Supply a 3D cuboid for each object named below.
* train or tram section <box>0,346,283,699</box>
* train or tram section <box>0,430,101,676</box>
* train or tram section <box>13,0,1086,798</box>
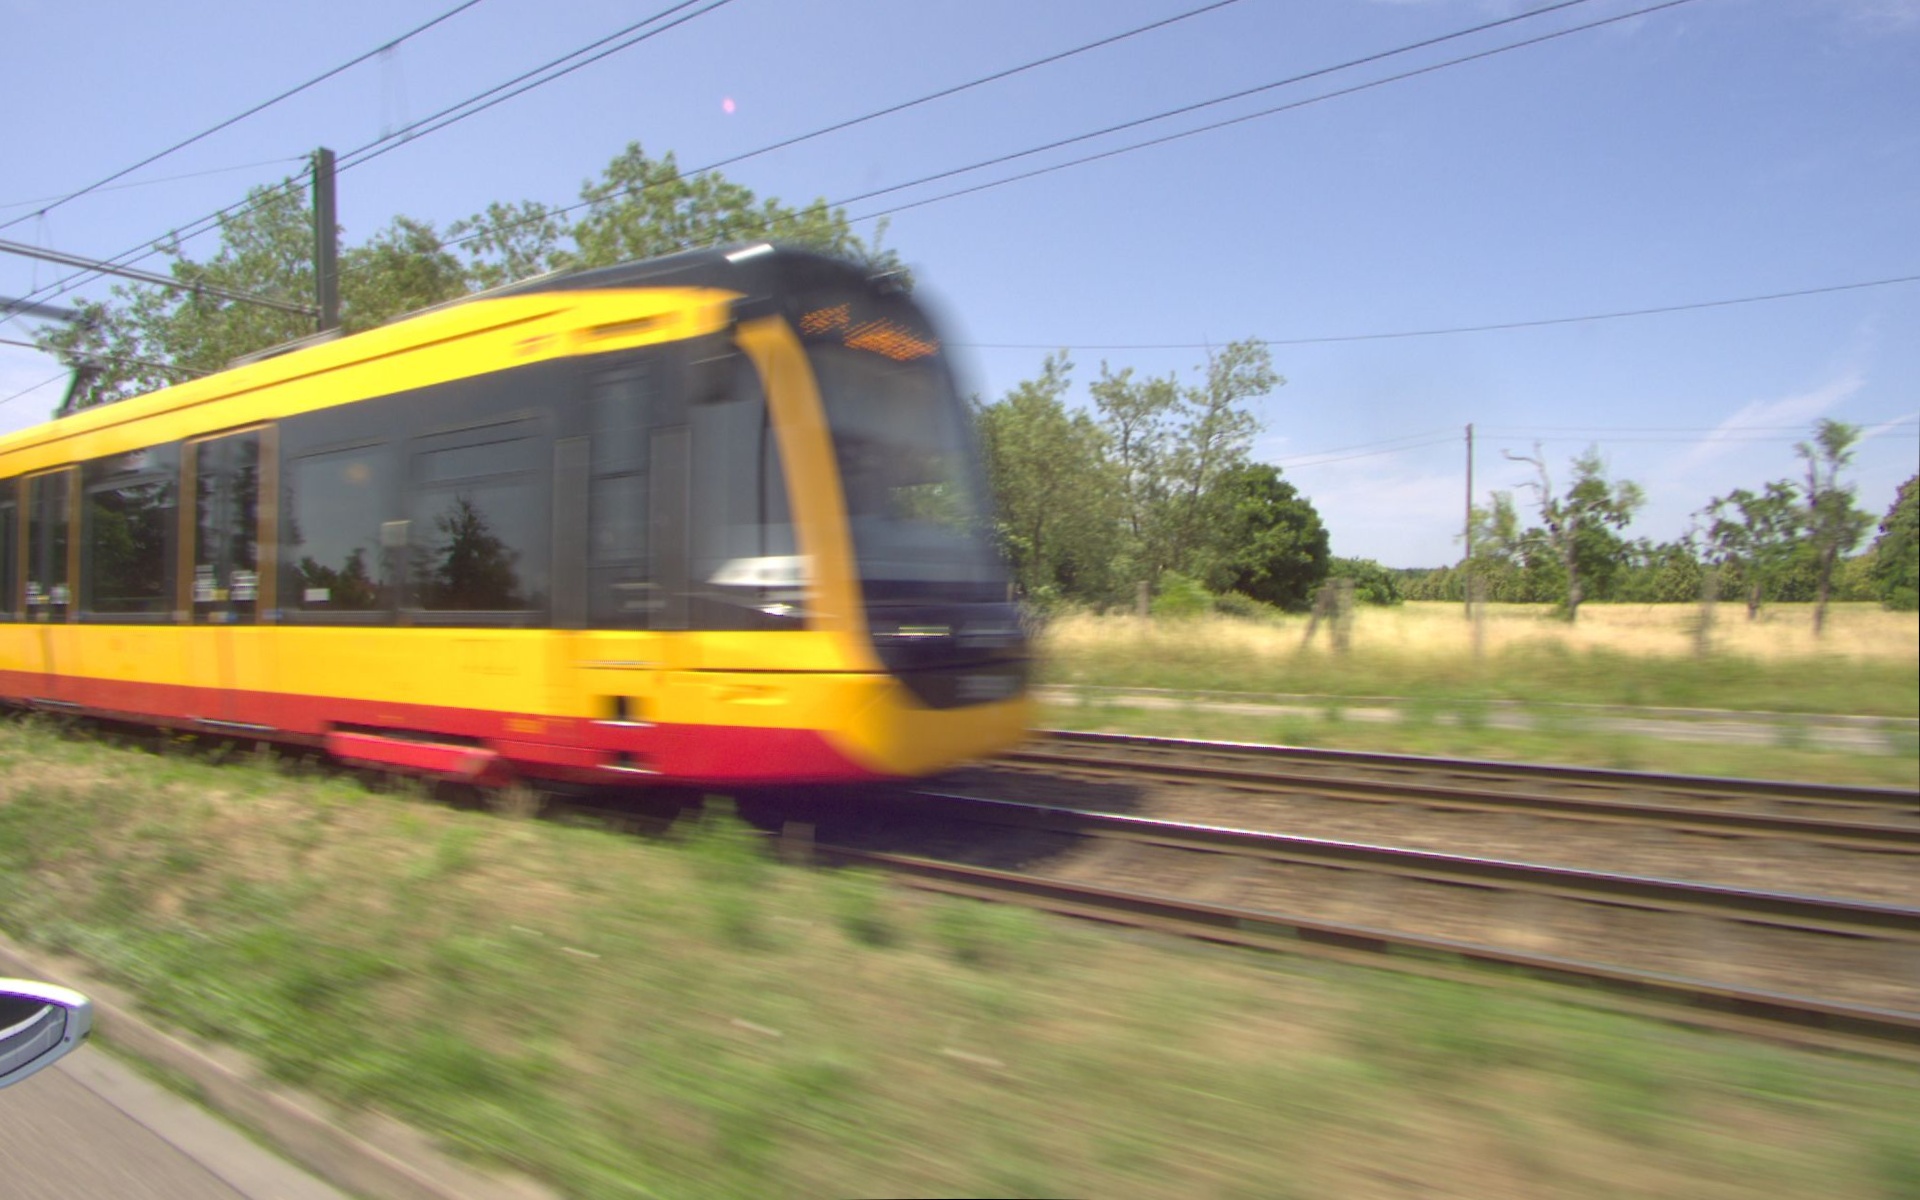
[{"bbox_3d":[-12.193,-0.770,13.553,6.633,3.762,2.555,-1,0,32],"label":"train or tram section"},{"bbox_3d":[-17.739,-0.670,17.187,6.633,3.816,2.695,-1,0,32],"label":"train or tram section"},{"bbox_3d":[-4.627,-0.904,8.667,11.394,3.816,2.424,-1,0,32],"label":"train or tram section"}]
